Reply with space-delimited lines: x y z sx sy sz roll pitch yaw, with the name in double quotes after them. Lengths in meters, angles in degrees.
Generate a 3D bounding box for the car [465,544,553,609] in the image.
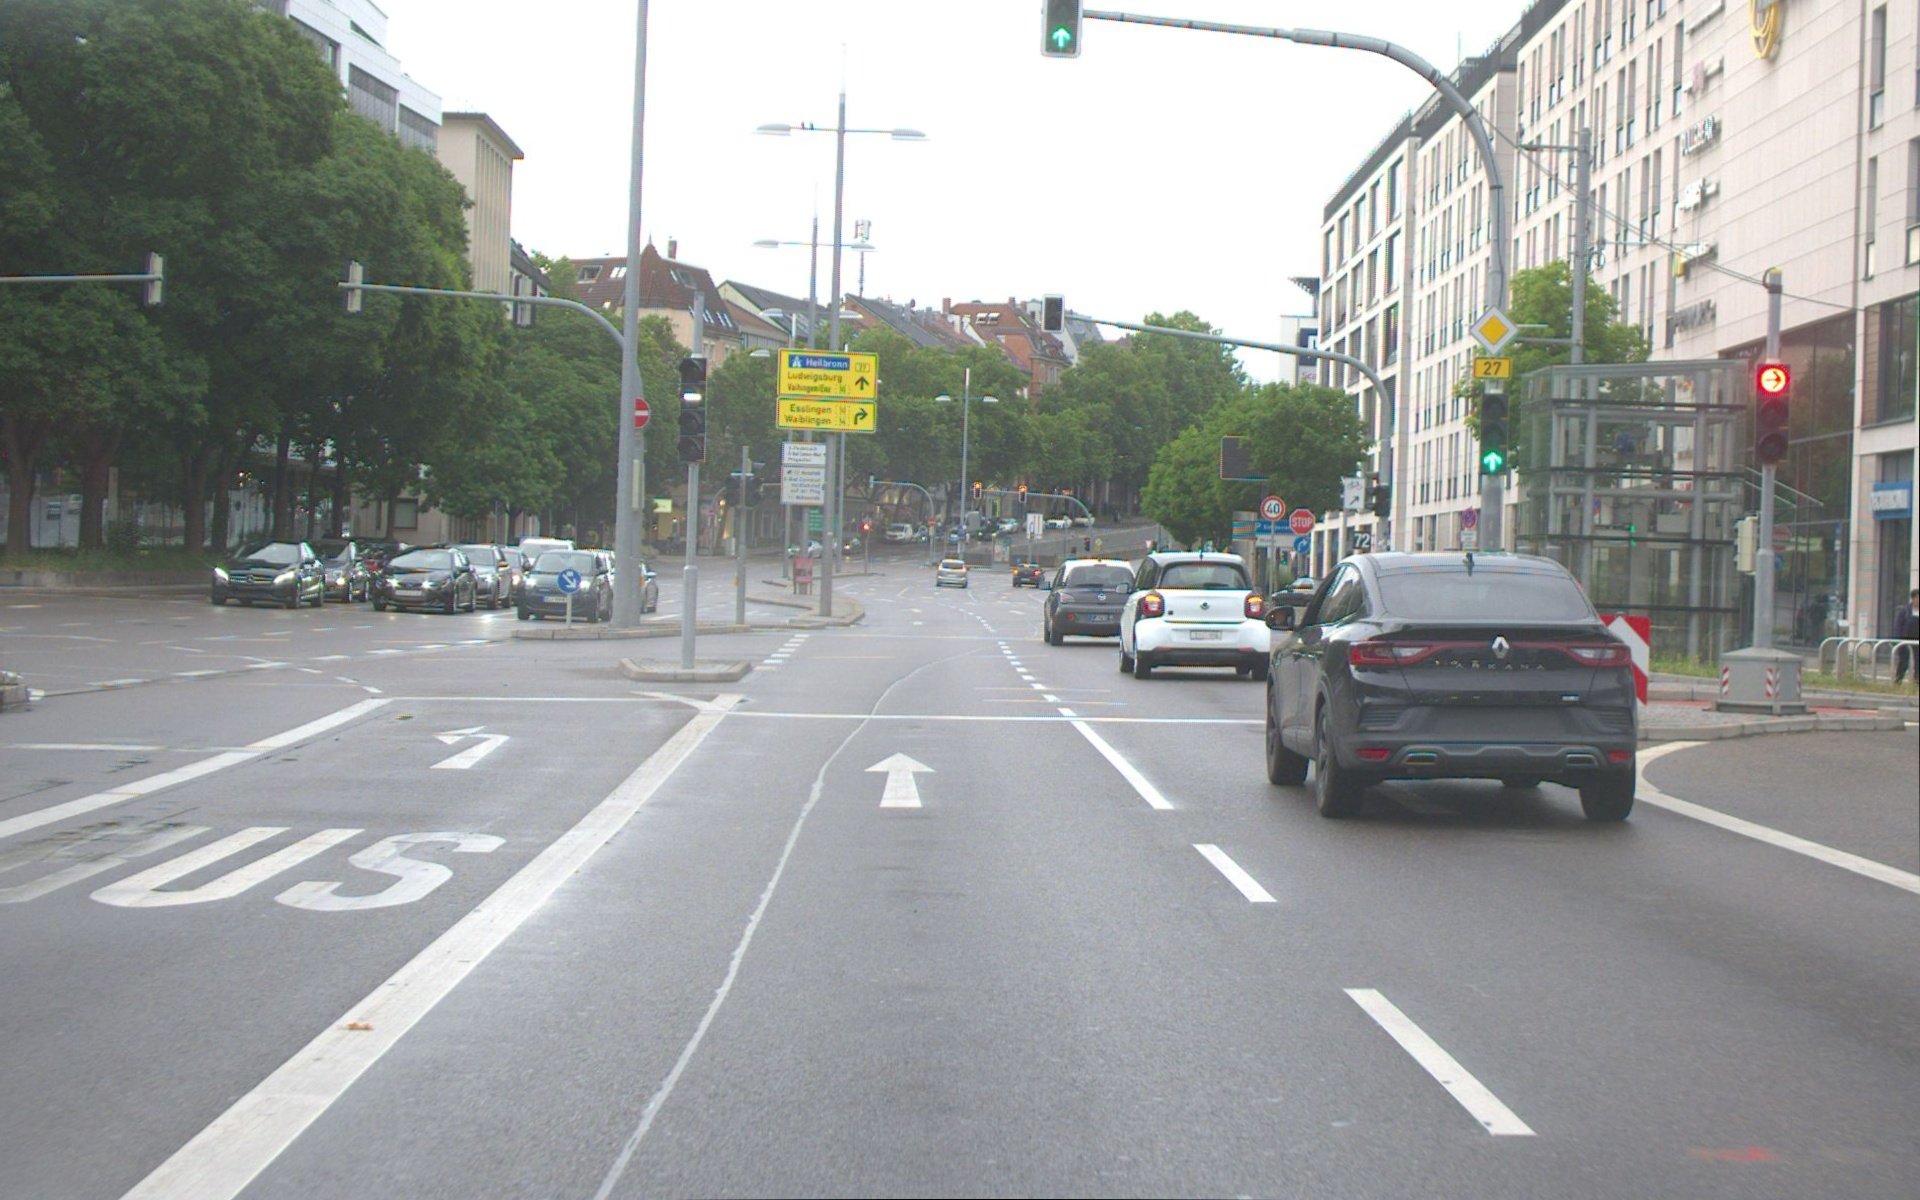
-11.370 -0.577 86.821 1.743 1.553 3.539 1 0 0 "car"

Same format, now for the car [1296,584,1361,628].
11.957 0.201 111.759 1.661 1.396 3.832 1 0 0 "car"

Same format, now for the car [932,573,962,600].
-0.756 -0.793 200.441 1.740 1.526 3.814 1 1 0 "car"

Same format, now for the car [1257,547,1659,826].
2.942 0.445 21.179 1.791 1.501 4.339 1 1 0 "car"

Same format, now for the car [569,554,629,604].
-12.895 -0.738 122.907 1.743 1.742 3.539 1 0 0 "car"

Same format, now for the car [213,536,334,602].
-14.624 -0.645 73.431 1.743 1.324 4.225 1 0 0 "car"

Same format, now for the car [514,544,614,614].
-8.458 -0.433 73.693 1.743 1.439 3.395 1 0 0 "car"

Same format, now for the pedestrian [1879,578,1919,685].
14.448 0.478 52.425 0.612 1.605 0.819 1 0 0 "pedestrian"

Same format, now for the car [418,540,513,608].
-11.780 -0.610 82.064 1.743 1.553 3.539 1 0 0 "car"

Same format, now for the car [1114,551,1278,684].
2.858 0.213 42.370 1.724 1.526 3.814 1 0 0 "car"

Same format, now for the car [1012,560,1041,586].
4.113 -1.665 212.884 1.740 1.526 3.814 1 0 0 "car"

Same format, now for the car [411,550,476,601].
-18.230 -0.863 121.412 1.743 1.742 3.539 1 0 0 "car"

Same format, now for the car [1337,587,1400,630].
12.576 0.269 106.079 1.506 1.261 3.502 1 0 0 "car"

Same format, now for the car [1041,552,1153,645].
2.330 -0.017 59.259 1.740 1.526 3.814 1 0 0 "car"

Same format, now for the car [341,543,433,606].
-14.573 -0.632 87.547 1.743 1.553 3.539 1 0 0 "car"

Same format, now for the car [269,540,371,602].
-15.210 -0.676 81.850 1.743 1.419 3.539 1 0 0 "car"

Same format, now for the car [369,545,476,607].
-11.693 -0.540 74.986 1.743 1.253 3.540 2 1 0 "car"
